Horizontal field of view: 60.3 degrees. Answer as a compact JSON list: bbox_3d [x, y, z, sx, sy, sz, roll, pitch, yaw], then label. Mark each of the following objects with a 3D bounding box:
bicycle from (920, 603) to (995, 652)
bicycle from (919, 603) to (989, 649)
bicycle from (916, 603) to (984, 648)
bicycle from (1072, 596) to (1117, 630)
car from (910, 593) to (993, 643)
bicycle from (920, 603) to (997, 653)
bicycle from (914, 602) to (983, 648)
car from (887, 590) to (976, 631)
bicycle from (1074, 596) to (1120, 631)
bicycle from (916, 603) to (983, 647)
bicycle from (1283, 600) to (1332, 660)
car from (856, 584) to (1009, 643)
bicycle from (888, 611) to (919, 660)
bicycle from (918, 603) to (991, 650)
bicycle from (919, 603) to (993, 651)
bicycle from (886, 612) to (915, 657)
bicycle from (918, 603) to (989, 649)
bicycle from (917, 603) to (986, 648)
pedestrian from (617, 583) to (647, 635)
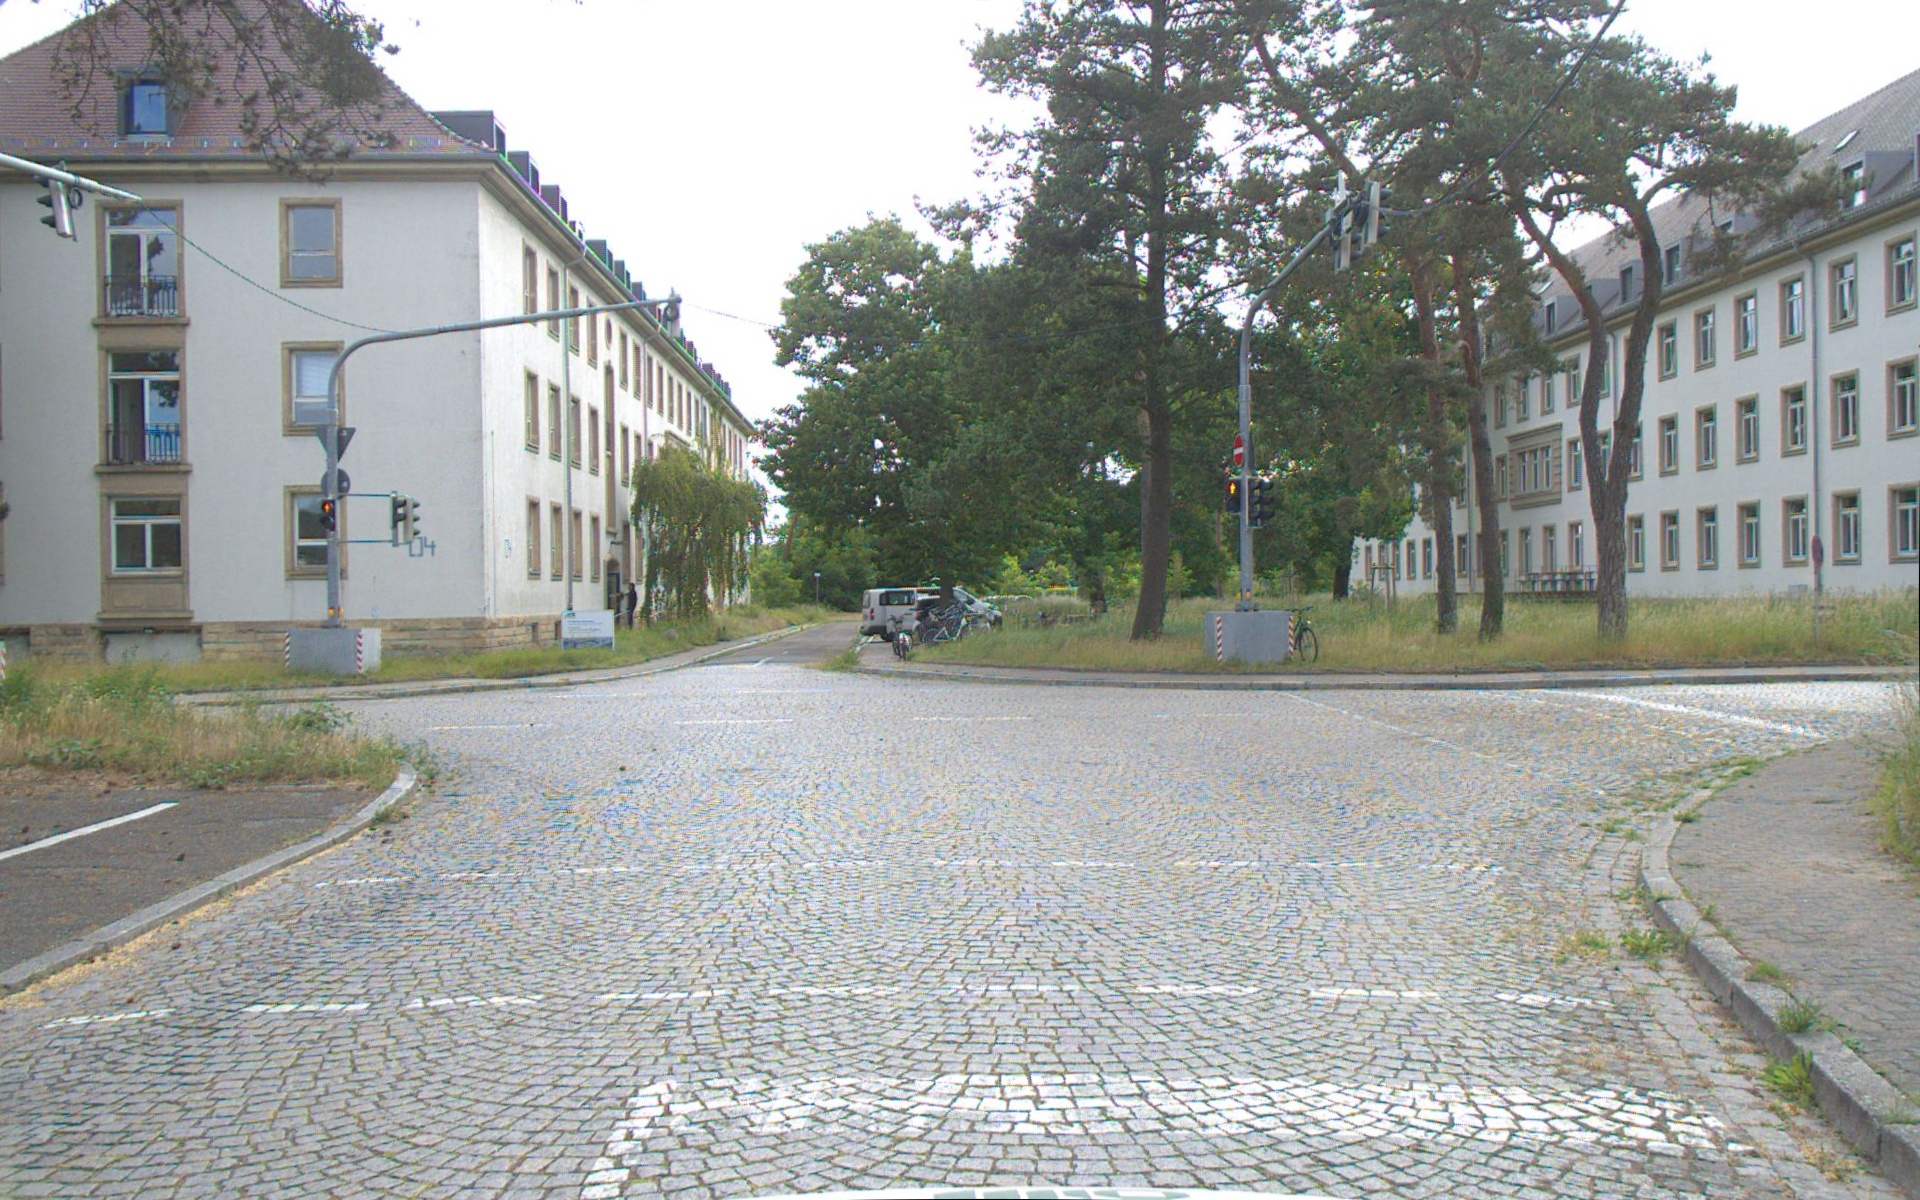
[{"bbox_3d":[-0.071,0.712,43.326,1.943,1.269,0.624,0,0,-4],"label":"bicycle"},{"bbox_3d":[-0.181,0.725,46.268,1.943,1.269,0.624,0,0,-4],"label":"bicycle"},{"bbox_3d":[-0.282,0.731,47.856,1.943,1.269,0.624,0,0,-4],"label":"bicycle"},{"bbox_3d":[4.696,0.461,57.648,1.517,1.144,0.401,-1,0,0],"label":"bicycle"},{"bbox_3d":[-0.298,0.606,57.318,2.790,1.585,1.471,-2,1,-2],"label":"car"},{"bbox_3d":[-0.047,0.710,42.698,1.943,1.269,0.624,0,0,-4],"label":"bicycle"},{"bbox_3d":[-0.344,0.736,49.008,1.943,1.269,0.624,-3,0,-4],"label":"bicycle"},{"bbox_3d":[-1.313,0.469,74.654,3.951,1.748,1.680,-1,0,-3],"label":"car"},{"bbox_3d":[4.668,0.459,56.415,1.517,1.144,0.401,-1,0,0],"label":"bicycle"},{"bbox_3d":[-0.318,0.733,48.349,1.943,1.269,0.624,0,0,-4],"label":"bicycle"},{"bbox_3d":[6.395,0.541,30.481,0.568,0.987,1.678,-3,2,2],"label":"bicycle"},{"bbox_3d":[-1.025,0.490,60.772,5.219,1.949,2.140,-2,0,-17],"label":"car"},{"bbox_3d":[-1.331,0.829,39.280,0.609,1.133,1.989,0,0,1],"label":"bicycle"},{"bbox_3d":[-0.156,0.720,45.110,1.943,1.269,0.624,0,0,-4],"label":"bicycle"},{"bbox_3d":[-0.122,0.716,44.251,1.943,1.269,0.624,0,0,-4],"label":"bicycle"},{"bbox_3d":[-1.473,0.853,41.230,0.609,1.101,1.678,0,0,2],"label":"bicycle"},{"bbox_3d":[-0.175,0.723,45.742,1.943,1.269,0.624,0,0,-4],"label":"bicycle"},{"bbox_3d":[-0.240,0.729,47.344,1.943,1.269,0.624,0,0,-4],"label":"bicycle"},{"bbox_3d":[-11.549,0.313,58.248,0.819,1.812,0.941,-1,0,4],"label":"pedestrian"}]
